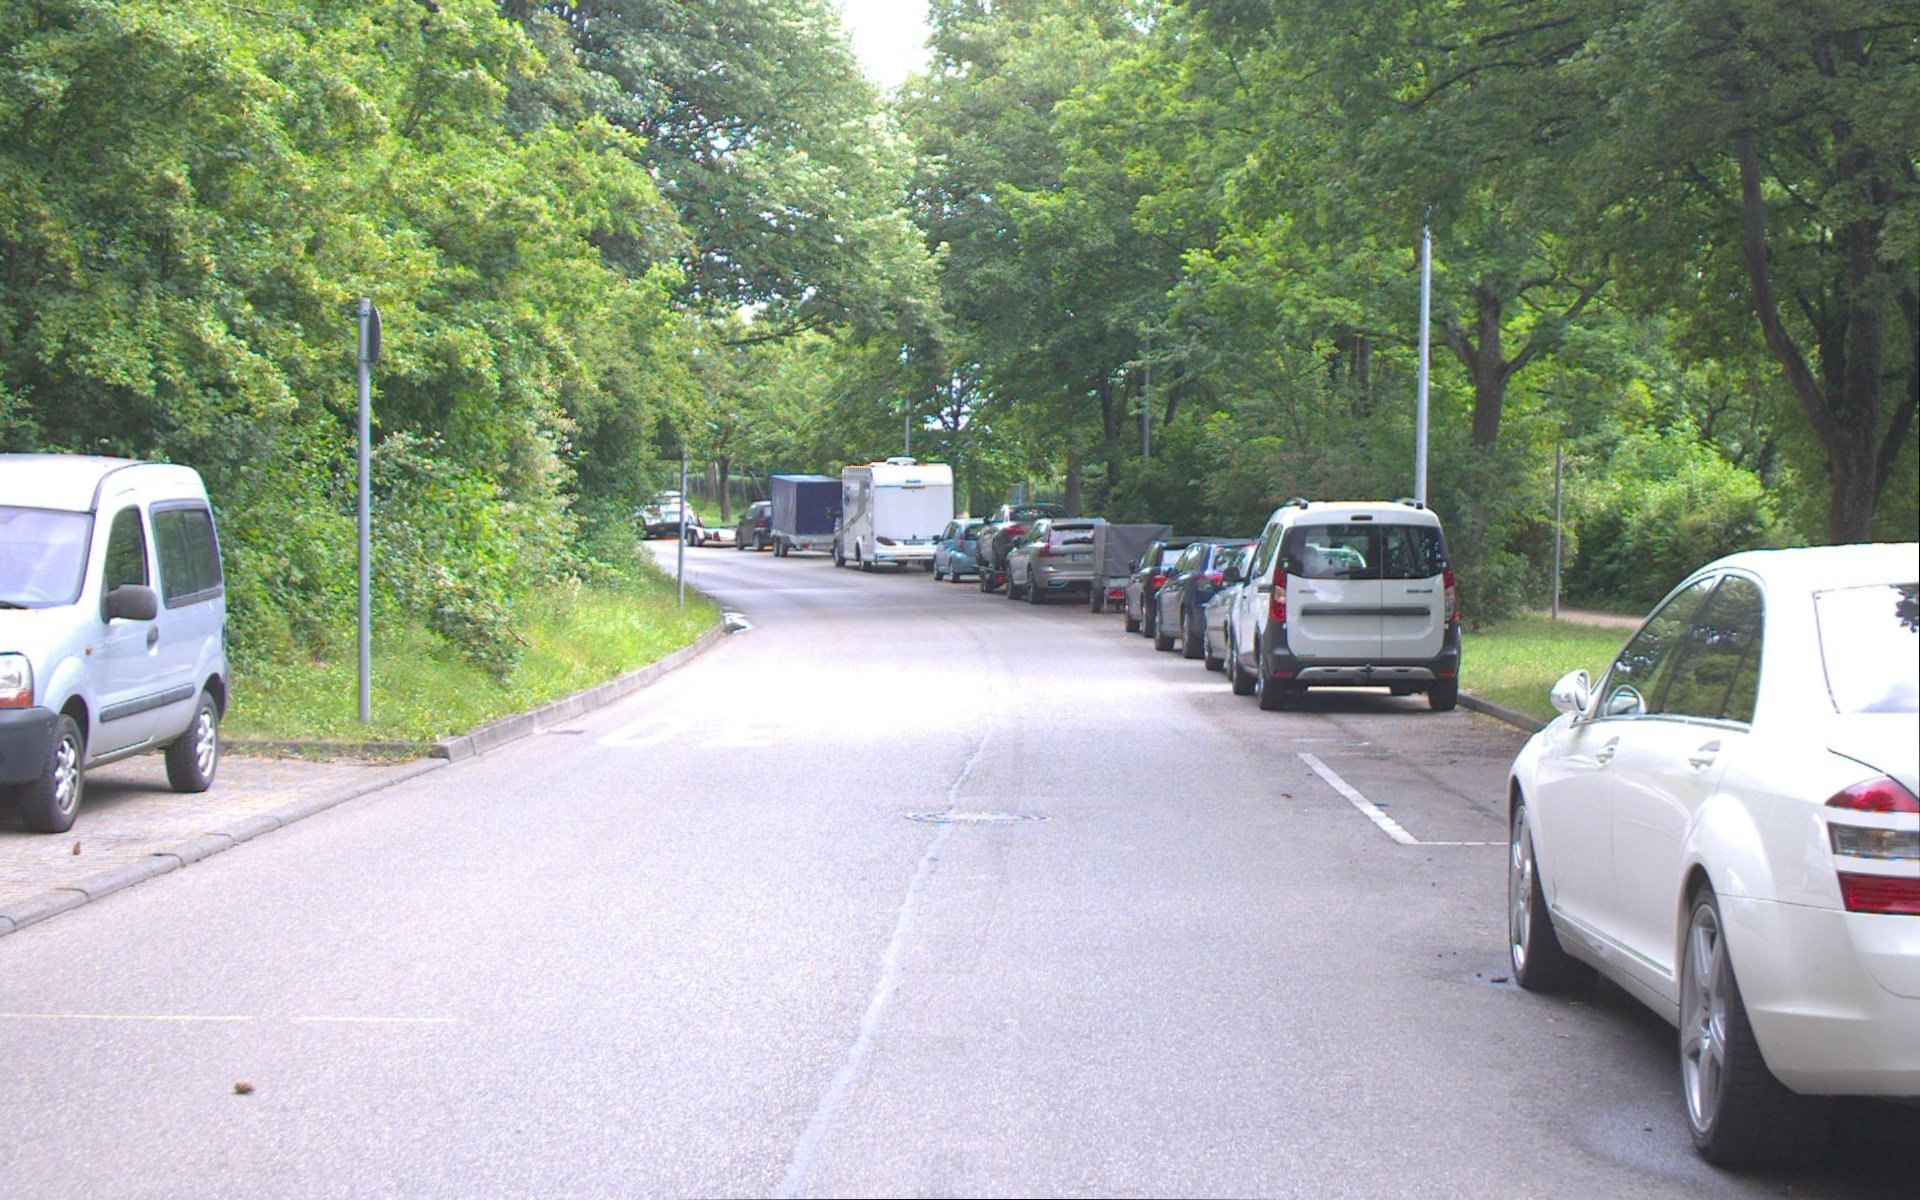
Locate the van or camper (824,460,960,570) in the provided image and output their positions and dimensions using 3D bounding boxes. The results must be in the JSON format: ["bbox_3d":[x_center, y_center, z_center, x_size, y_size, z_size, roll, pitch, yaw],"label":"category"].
[{"bbox_3d":[-1.903,-2.309,93.078,2.481,2.866,6.892,0,2,-11],"label":"van or camper"}]

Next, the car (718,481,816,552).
[{"bbox_3d":[-6.123,-2.668,108.920,1.993,2.018,4.002,-3,4,-20],"label":"car"}]

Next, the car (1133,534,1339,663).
[{"bbox_3d":[3.355,-0.057,42.640,1.847,1.469,4.480,1,1,-4],"label":"car"}]

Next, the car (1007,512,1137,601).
[{"bbox_3d":[2.150,-0.833,67.228,1.791,1.664,4.503,0,0,-8],"label":"car"}]

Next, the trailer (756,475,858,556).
[{"bbox_3d":[-4.634,-2.555,103.610,1.993,2.390,4.001,0,2,-19],"label":"trailer"}]

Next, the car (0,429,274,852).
[{"bbox_3d":[-4.931,0.080,17.711,1.721,1.914,4.104,3,2,3],"label":"car"}]

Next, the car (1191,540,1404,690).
[{"bbox_3d":[3.553,0.113,36.868,1.813,1.432,4.243,2,1,0],"label":"car"}]

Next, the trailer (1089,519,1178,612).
[{"bbox_3d":[3.059,-0.630,60.989,1.278,1.579,2.461,1,1,-3],"label":"trailer"}]

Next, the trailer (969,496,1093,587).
[{"bbox_3d":[1.474,-1.285,73.540,1.978,1.805,5.150,0,2,-7],"label":"trailer"}]

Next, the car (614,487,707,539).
[{"bbox_3d":[-10.621,-3.093,121.582,2.034,1.797,4.084,-1,2,-24],"label":"car"}]

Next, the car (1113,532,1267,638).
[{"bbox_3d":[3.320,-0.252,50.215,1.720,1.448,3.918,1,1,-4],"label":"car"}]

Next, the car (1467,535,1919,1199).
[{"bbox_3d":[2.722,0.585,9.649,1.886,1.501,5.176,0,1,1],"label":"car"}]

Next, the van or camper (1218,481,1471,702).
[{"bbox_3d":[3.397,-0.072,31.069,1.802,1.831,4.320,1,0,0],"label":"van or camper"}]

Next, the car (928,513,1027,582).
[{"bbox_3d":[0.399,-1.289,82.864,1.799,1.556,3.837,0,2,-9],"label":"car"}]

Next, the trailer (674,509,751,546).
[{"bbox_3d":[-8.131,-2.379,112.606,1.651,1.083,4.002,-2,3,-16],"label":"trailer"}]
